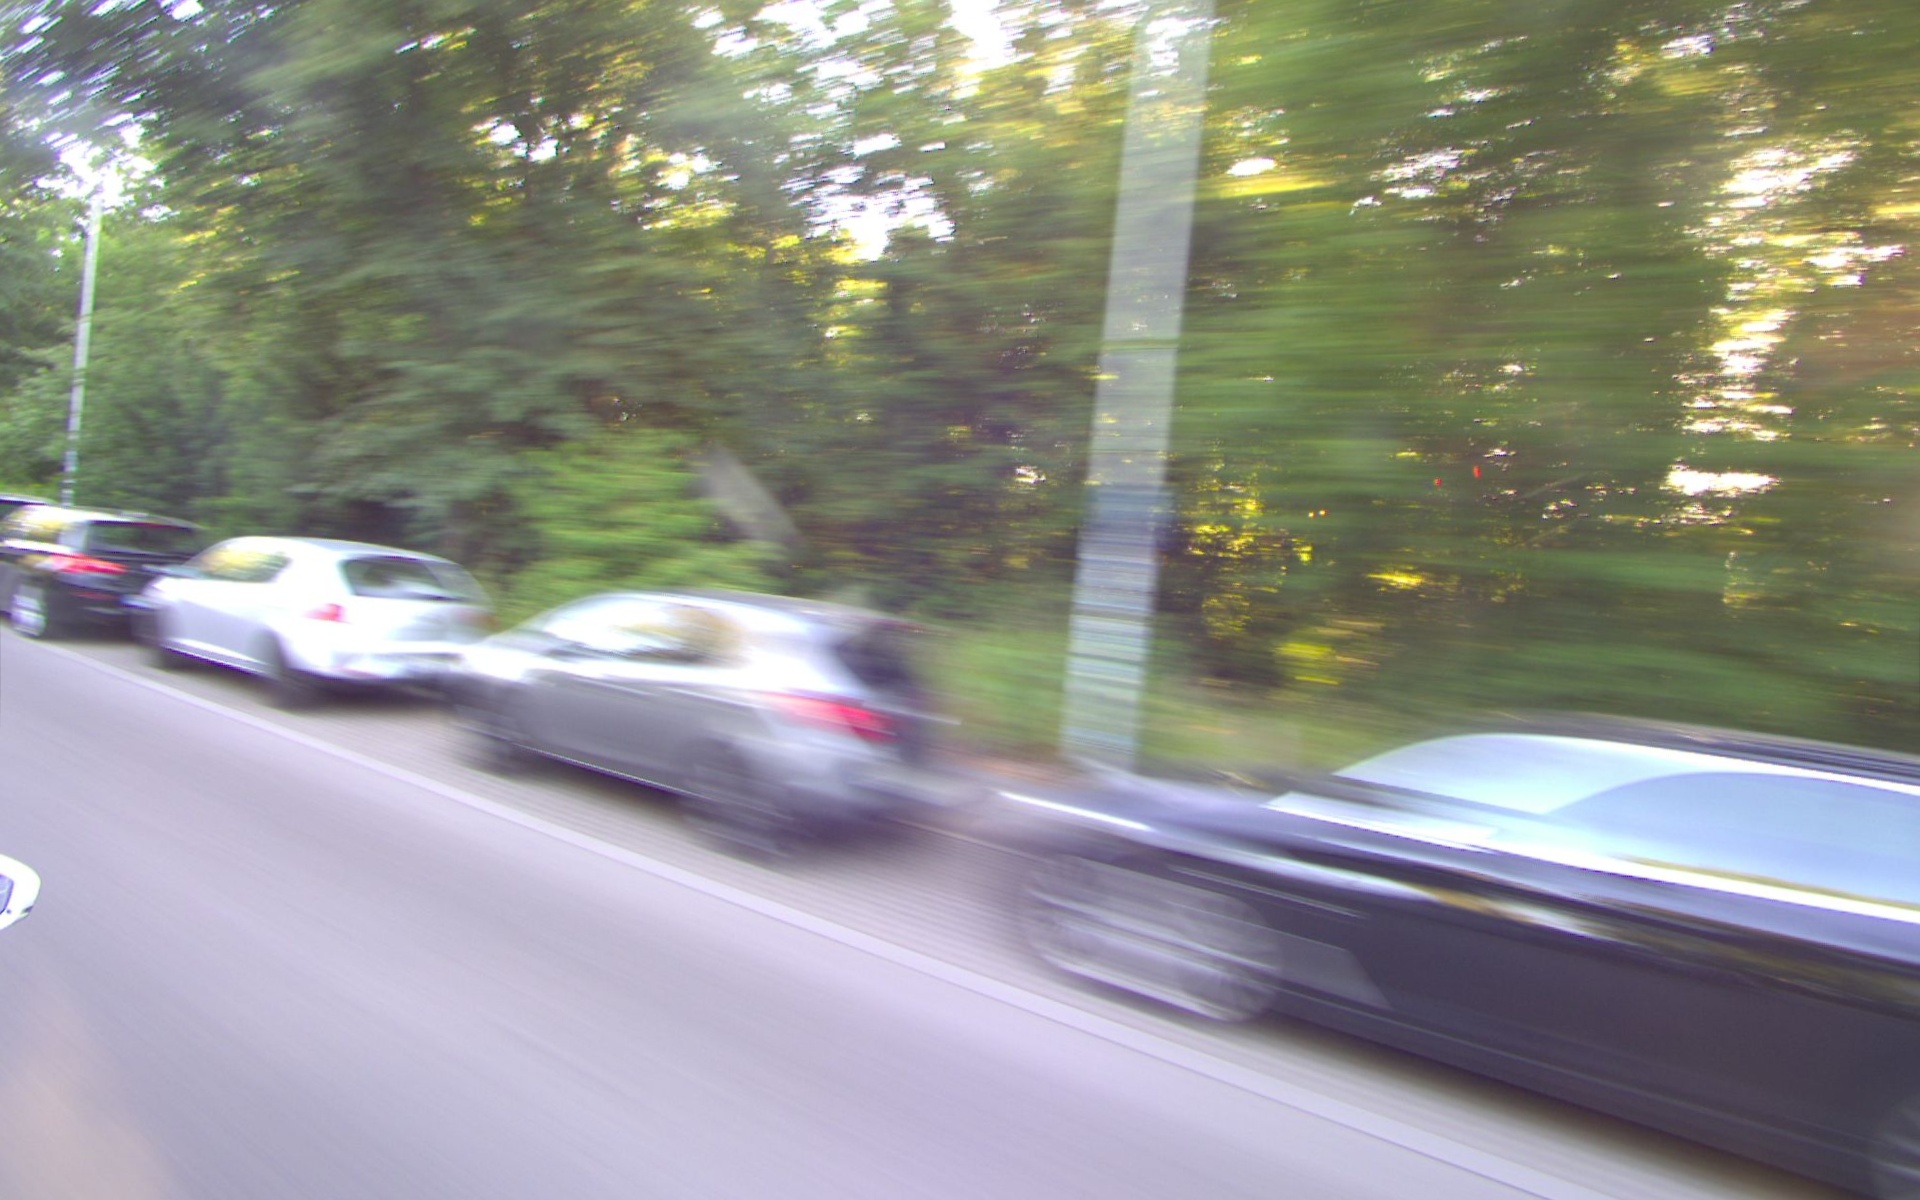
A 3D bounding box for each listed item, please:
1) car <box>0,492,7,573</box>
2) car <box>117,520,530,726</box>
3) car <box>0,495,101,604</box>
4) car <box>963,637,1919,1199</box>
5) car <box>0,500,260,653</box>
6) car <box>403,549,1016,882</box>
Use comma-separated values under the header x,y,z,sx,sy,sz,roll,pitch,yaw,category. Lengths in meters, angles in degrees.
x,y,z,sx,sy,sz,roll,pitch,yaw,category
-19.093,-1.420,18.178,4.829,1.429,1.718,6,0,35,car
-6.247,0.150,9.756,4.056,1.429,1.719,6,0,32,car
-14.826,-0.904,15.098,4.415,1.429,1.719,6,0,33,car
2.601,1.192,4.013,4.905,1.487,1.719,6,0,32,car
-10.485,-0.356,12.100,4.413,1.429,1.719,6,0,32,car
-1.885,0.606,7.119,4.133,1.487,1.719,6,0,32,car
